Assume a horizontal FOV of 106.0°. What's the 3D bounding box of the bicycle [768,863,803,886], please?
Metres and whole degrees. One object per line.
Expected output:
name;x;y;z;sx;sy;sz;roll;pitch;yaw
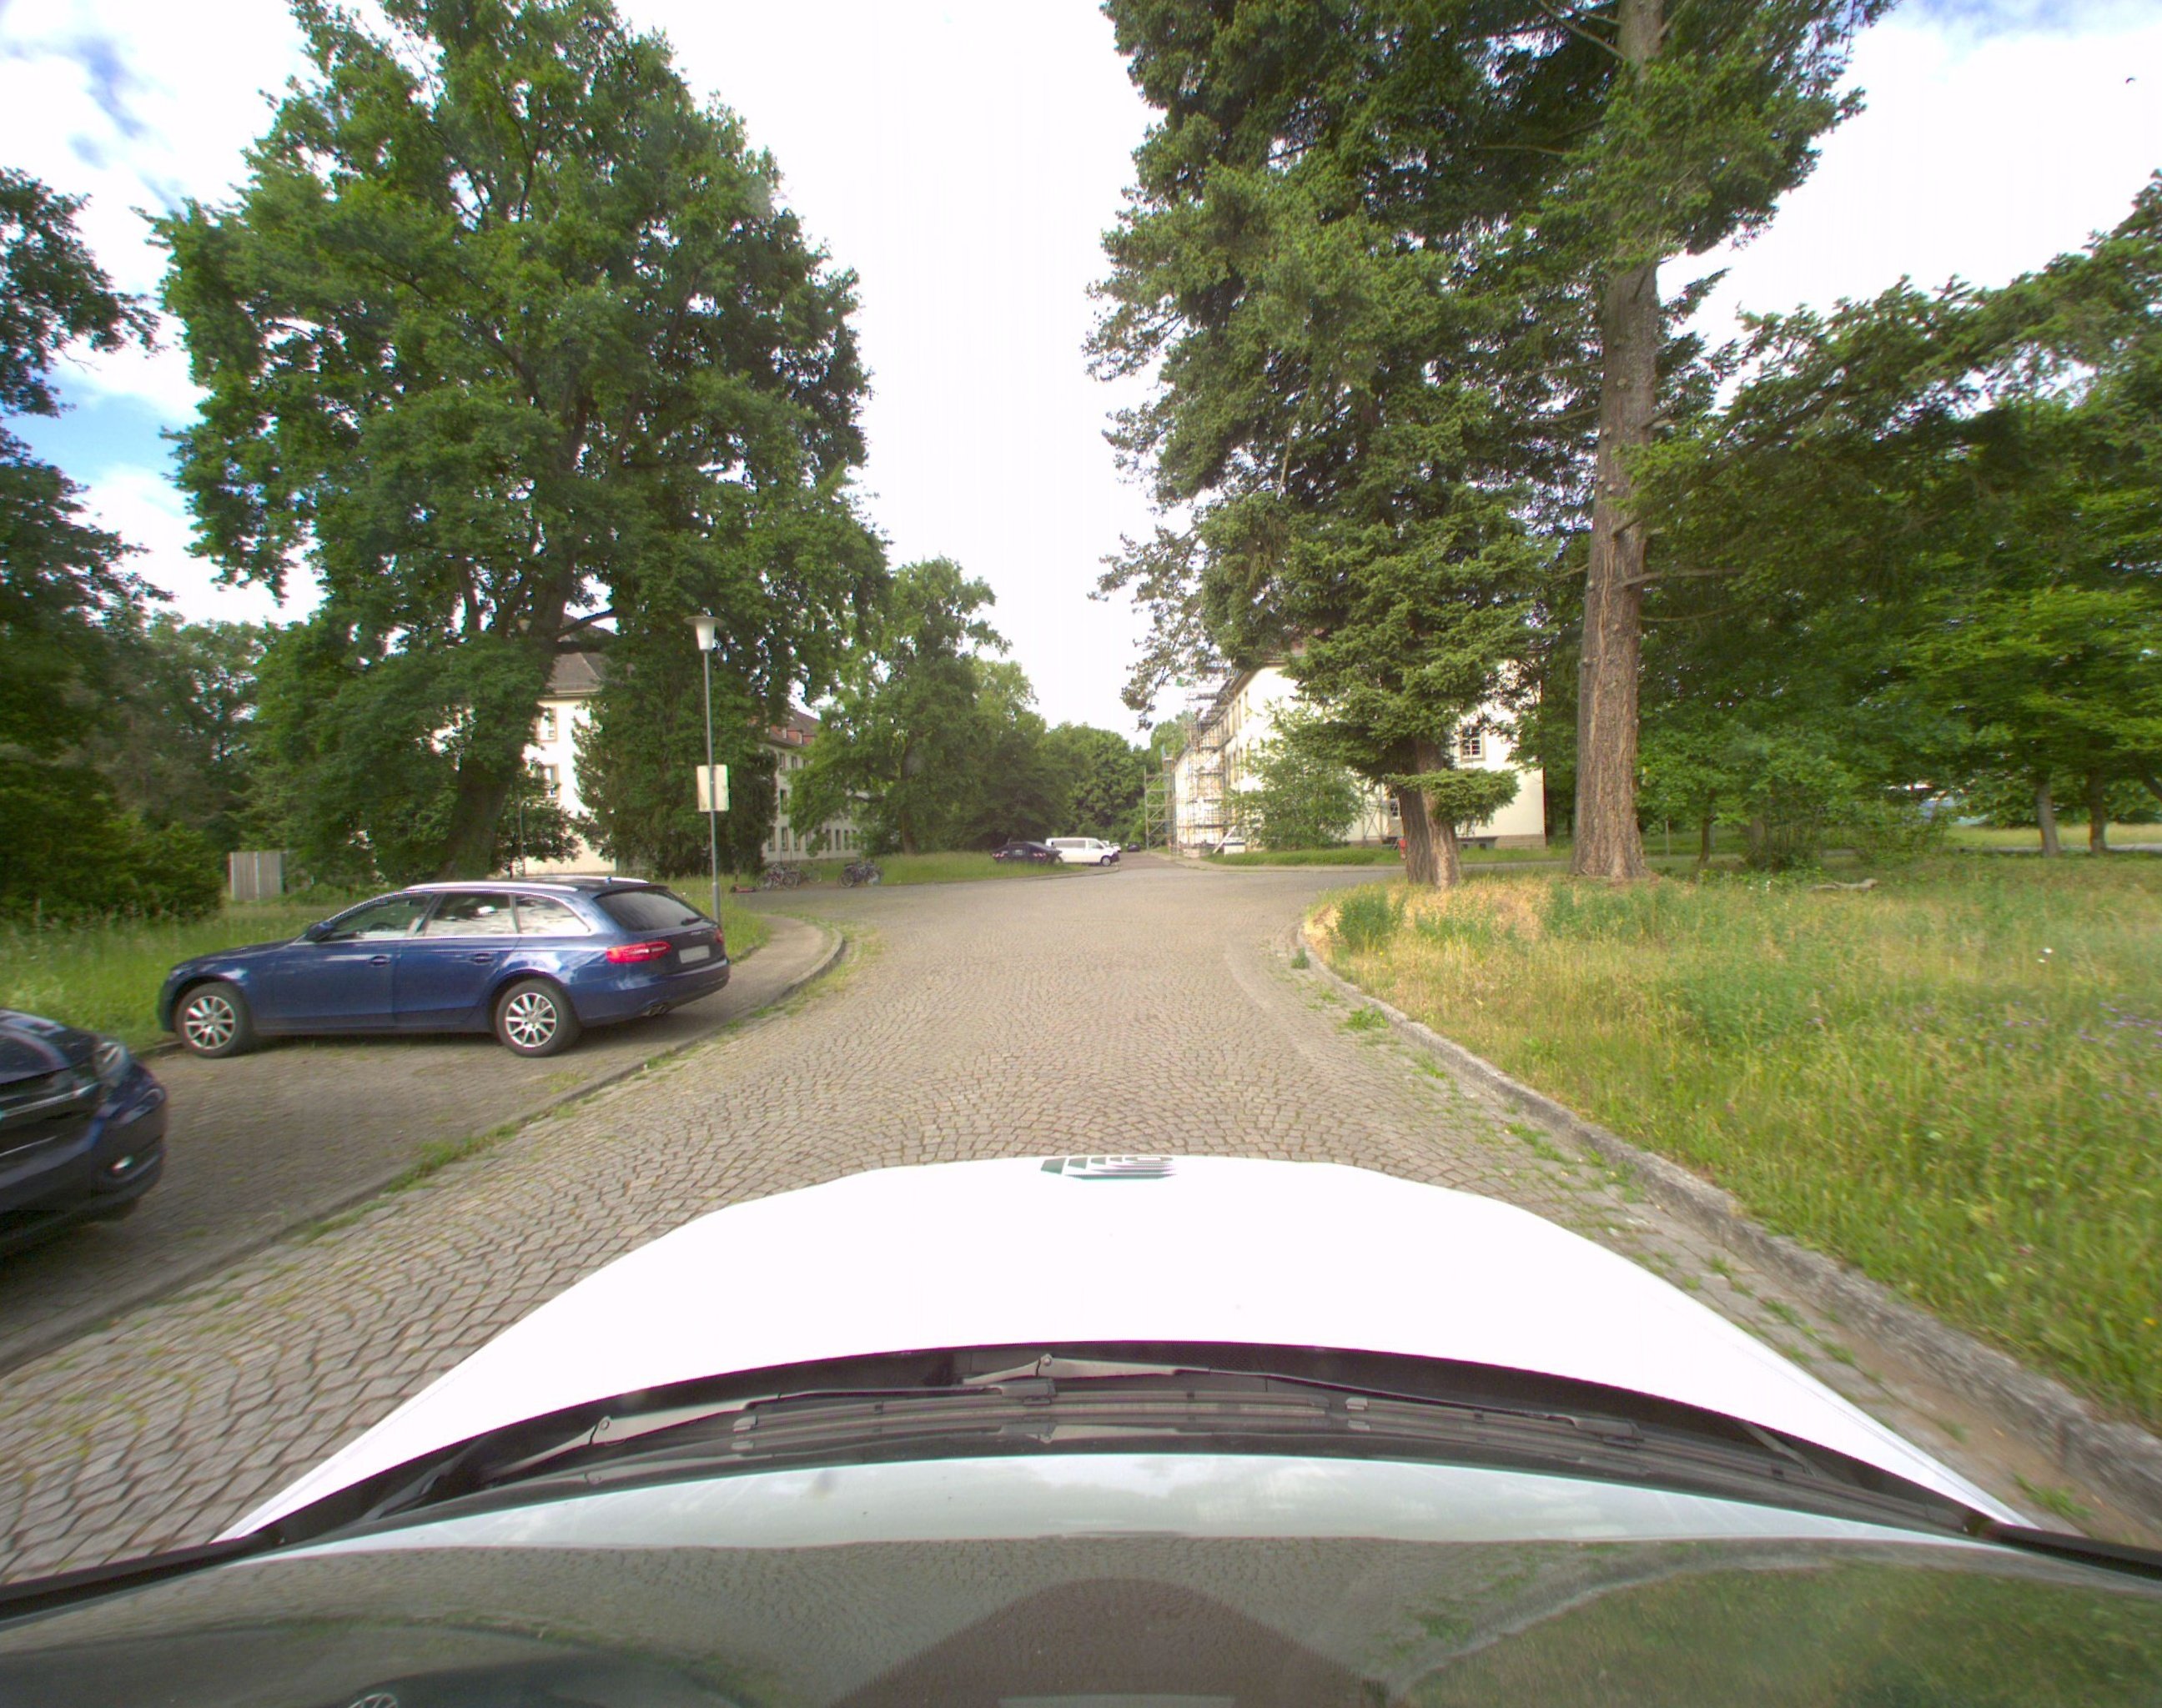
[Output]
bicycle;-14.569;0.990;40.150;1.520;1.035;0.540;-3;3;-28

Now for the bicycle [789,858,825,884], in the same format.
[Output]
bicycle;-13.882;0.847;41.234;1.646;1.185;0.570;-3;3;-24

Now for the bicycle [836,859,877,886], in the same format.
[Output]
bicycle;-10.389;0.849;37.681;1.772;1.103;0.699;-4;3;-17

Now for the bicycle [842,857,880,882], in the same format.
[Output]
bicycle;-11.256;0.776;41.656;1.775;1.105;0.538;-4;3;-17

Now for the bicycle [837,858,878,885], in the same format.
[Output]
bicycle;-10.539;0.823;38.388;1.798;1.103;0.699;-4;3;-17

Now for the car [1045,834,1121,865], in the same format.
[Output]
car;0.171;-0.302;56.398;5.182;2.060;2.189;-1;0;1

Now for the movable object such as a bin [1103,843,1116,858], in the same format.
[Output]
movable object such as a bin;2.654;-0.294;76.063;1.179;1.407;0.976;1;0;3

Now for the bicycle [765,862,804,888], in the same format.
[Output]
bicycle;-14.118;0.989;38.762;1.634;1.073;0.535;-3;3;-28

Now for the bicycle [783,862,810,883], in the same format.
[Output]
bicycle;-14.923;0.972;42.699;1.262;1.029;0.431;-4;-1;-17

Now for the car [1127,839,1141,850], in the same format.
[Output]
car;7.996;-1.351;122.617;2.053;1.593;4.006;1;0;5

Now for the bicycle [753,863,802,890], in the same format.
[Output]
bicycle;-13.818;1.012;37.151;1.990;1.114;0.640;-2;3;-17

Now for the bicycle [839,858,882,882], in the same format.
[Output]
bicycle;-10.827;0.790;39.914;1.958;1.004;0.682;-4;3;-17

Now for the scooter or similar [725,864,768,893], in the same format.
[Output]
scooter or similar;-14.744;1.074;35.876;1.540;1.194;0.683;-3;1;5

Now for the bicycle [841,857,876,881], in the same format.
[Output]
bicycle;-11.524;0.757;42.149;1.701;1.116;0.538;-4;3;-17

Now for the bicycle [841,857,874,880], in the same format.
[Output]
bicycle;-11.699;0.768;42.660;1.620;1.058;0.524;-4;3;-17

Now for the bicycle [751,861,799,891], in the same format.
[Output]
bicycle;-13.687;0.992;36.485;1.900;1.222;0.640;-2;3;-17

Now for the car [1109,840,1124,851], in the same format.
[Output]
car;5.292;-1.250;122.411;1.995;1.548;3.957;1;0;-1

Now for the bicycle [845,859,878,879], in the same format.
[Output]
bicycle;-11.665;0.805;43.232;1.620;0.910;0.524;-4;3;-17

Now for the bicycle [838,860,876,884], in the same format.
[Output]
bicycle;-10.757;0.837;39.077;1.695;1.001;0.629;-4;3;-17

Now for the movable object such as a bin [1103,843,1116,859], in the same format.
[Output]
movable object such as a bin;2.591;-0.288;74.925;1.179;1.407;0.976;1;0;3

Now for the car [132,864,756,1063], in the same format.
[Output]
car;-5.551;0.912;7.465;4.412;1.479;1.684;-1;1;3

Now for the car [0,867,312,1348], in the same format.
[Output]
car;-5.657;0.911;2.882;4.124;1.573;1.790;-2;0;0

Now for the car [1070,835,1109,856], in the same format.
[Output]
car;0.867;-0.860;83.877;3.977;2.013;1.920;1;0;-2
